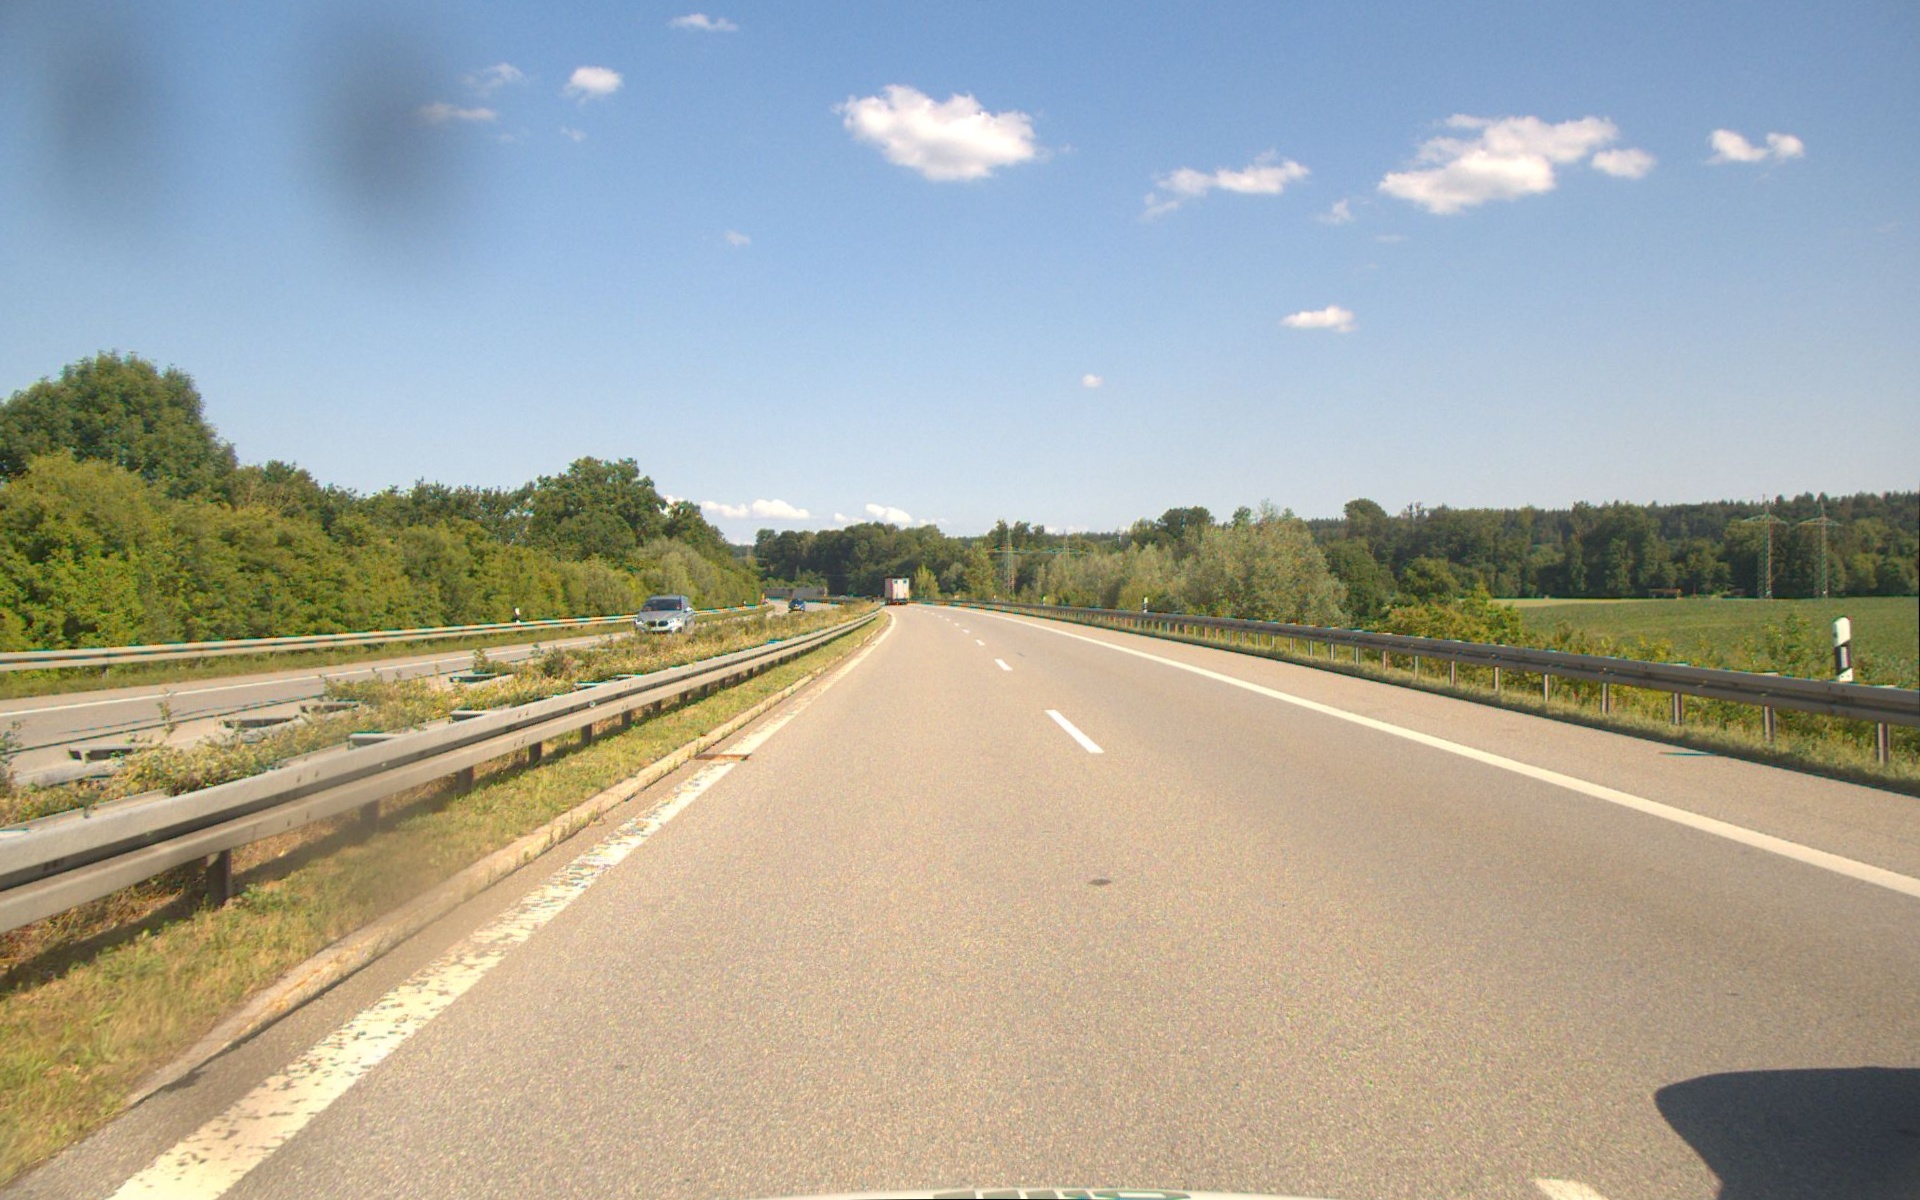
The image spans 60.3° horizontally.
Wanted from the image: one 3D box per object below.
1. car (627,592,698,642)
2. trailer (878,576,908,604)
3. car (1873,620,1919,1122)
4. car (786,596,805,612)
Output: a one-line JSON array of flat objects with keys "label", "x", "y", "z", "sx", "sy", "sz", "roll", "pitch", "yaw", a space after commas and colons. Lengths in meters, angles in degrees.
[{"label": "car", "x": -10.590, "y": 0.568, "z": 59.100, "sx": 1.872, "sy": 1.616, "sz": 4.914, "roll": -2, "pitch": 1, "yaw": -3}, {"label": "trailer", "x": -10.367, "y": -1.576, "z": 255.403, "sx": 2.832, "sy": 4.136, "sz": 12.389, "roll": -2, "pitch": 1, "yaw": -10}, {"label": "car", "x": 3.639, "y": 0.798, "z": 2.761, "sx": 1.684, "sy": 1.424, "sz": 4.412, "roll": 2, "pitch": 0, "yaw": -2}, {"label": "car", "x": -16.665, "y": 0.419, "z": 167.816, "sx": 1.643, "sy": 1.466, "sz": 3.998, "roll": -3, "pitch": 0, "yaw": -3}]
